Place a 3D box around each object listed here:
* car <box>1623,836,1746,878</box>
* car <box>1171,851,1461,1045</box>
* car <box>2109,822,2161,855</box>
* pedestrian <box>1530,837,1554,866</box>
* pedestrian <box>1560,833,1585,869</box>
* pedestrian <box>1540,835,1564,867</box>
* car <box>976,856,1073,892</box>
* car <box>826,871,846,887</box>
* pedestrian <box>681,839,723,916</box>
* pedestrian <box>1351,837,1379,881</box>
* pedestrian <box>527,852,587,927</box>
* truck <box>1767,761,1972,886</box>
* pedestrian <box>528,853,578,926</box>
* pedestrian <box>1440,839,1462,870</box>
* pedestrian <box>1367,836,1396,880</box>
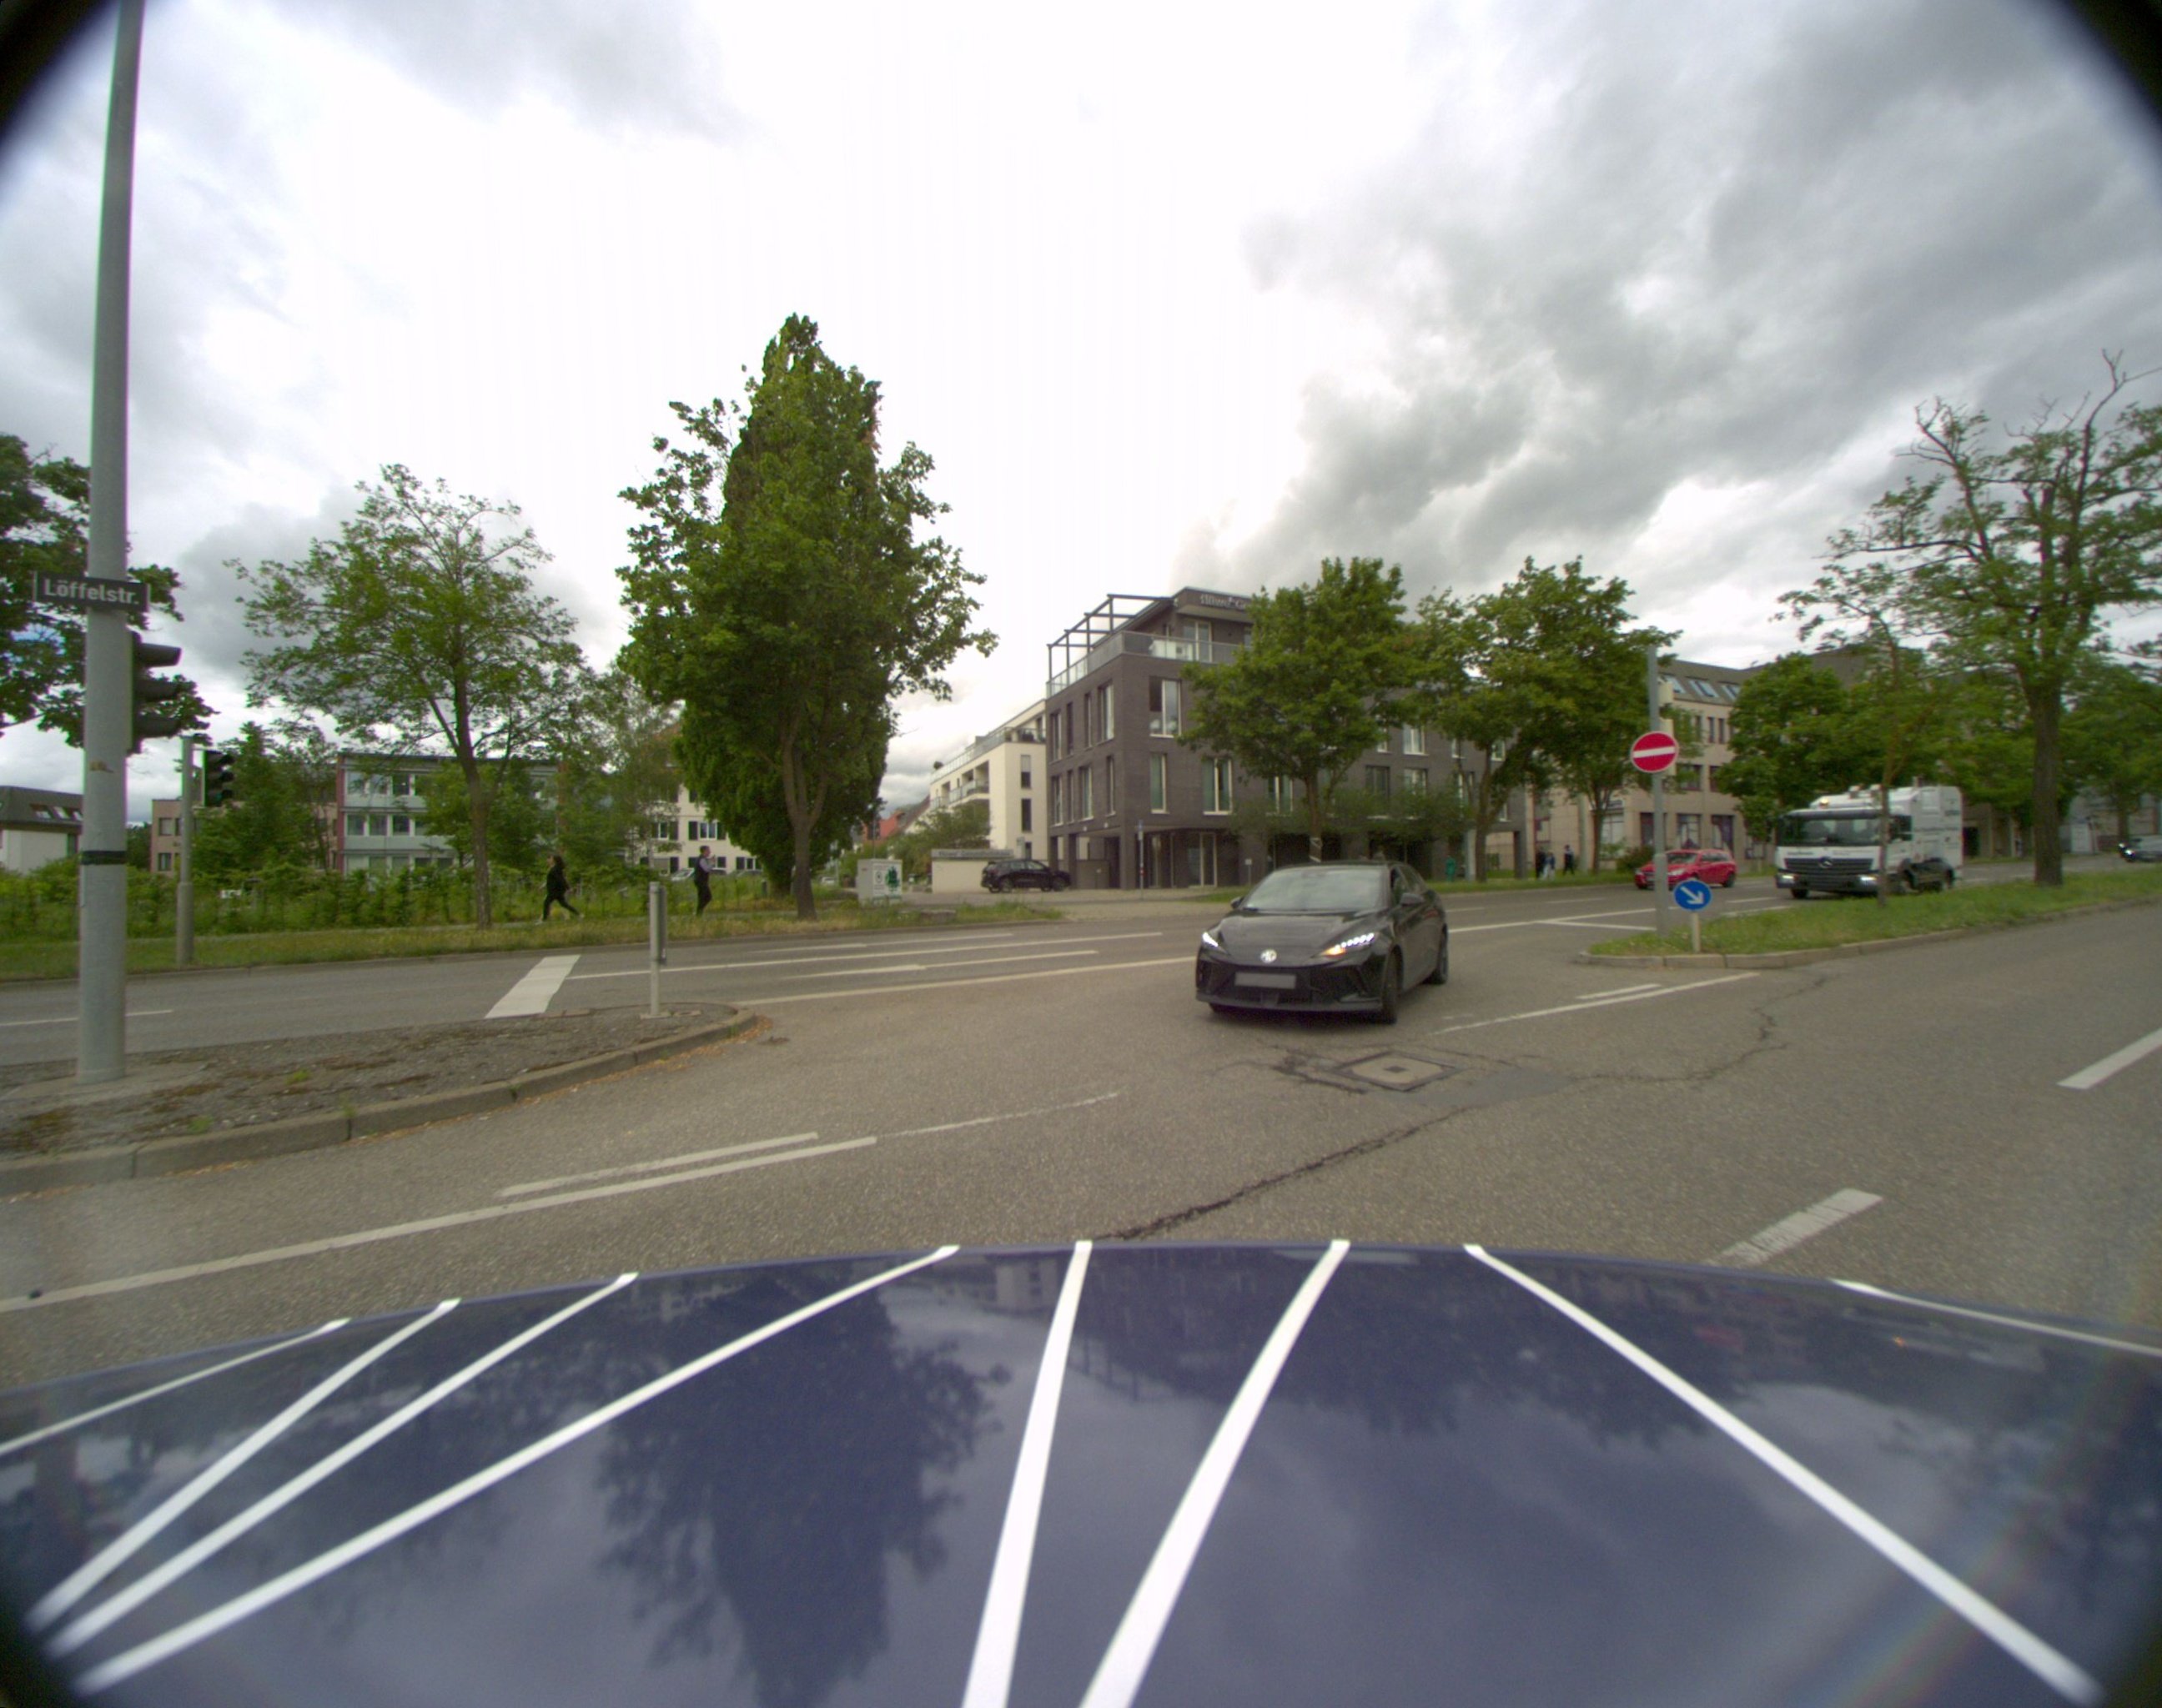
[{"bbox_3d":[22.328,0.101,28.084,4.362,1.415,1.996,-2,0,-28],"label":"car"},{"bbox_3d":[2.733,0.735,8.158,1.796,1.475,4.027,1,2,36],"label":"car"},{"bbox_3d":[62.573,-0.917,44.687,4.610,1.684,1.996,-3,-1,-31],"label":"car"},{"bbox_3d":[22.303,-0.118,36.727,0.599,1.382,0.692,-3,-1,-27],"label":"pedestrian"},{"bbox_3d":[22.959,-0.120,35.485,0.599,1.610,0.692,-3,-1,-27],"label":"pedestrian"},{"bbox_3d":[22.263,-0.148,35.928,0.599,1.424,0.692,-3,-1,-27],"label":"pedestrian"},{"bbox_3d":[-2.684,0.957,36.212,4.130,1.591,1.997,0,-3,-24],"label":"car"},{"bbox_3d":[-27.259,2.807,84.373,1.958,1.542,3.959,-4,-1,-19],"label":"car"},{"bbox_3d":[-9.106,0.558,18.291,0.751,1.786,0.670,-4,-1,-21],"label":"pedestrian"},{"bbox_3d":[11.727,0.211,31.390,0.699,1.735,0.692,-3,-1,-31],"label":"pedestrian"},{"bbox_3d":[-12.275,0.818,17.806,1.005,1.685,0.607,-3,-1,-42],"label":"pedestrian"},{"bbox_3d":[22.851,-0.854,21.957,6.475,3.177,2.432,-2,1,-28],"label":"truck"},{"bbox_3d":[-12.698,0.858,18.273,0.834,1.685,0.615,-3,-1,-42],"label":"pedestrian"},{"bbox_3d":[16.745,0.031,34.370,0.660,1.349,0.534,-3,-1,-33],"label":"pedestrian"},{"bbox_3d":[12.176,0.153,30.791,0.650,1.735,0.692,-3,-1,-31],"label":"pedestrian"}]
